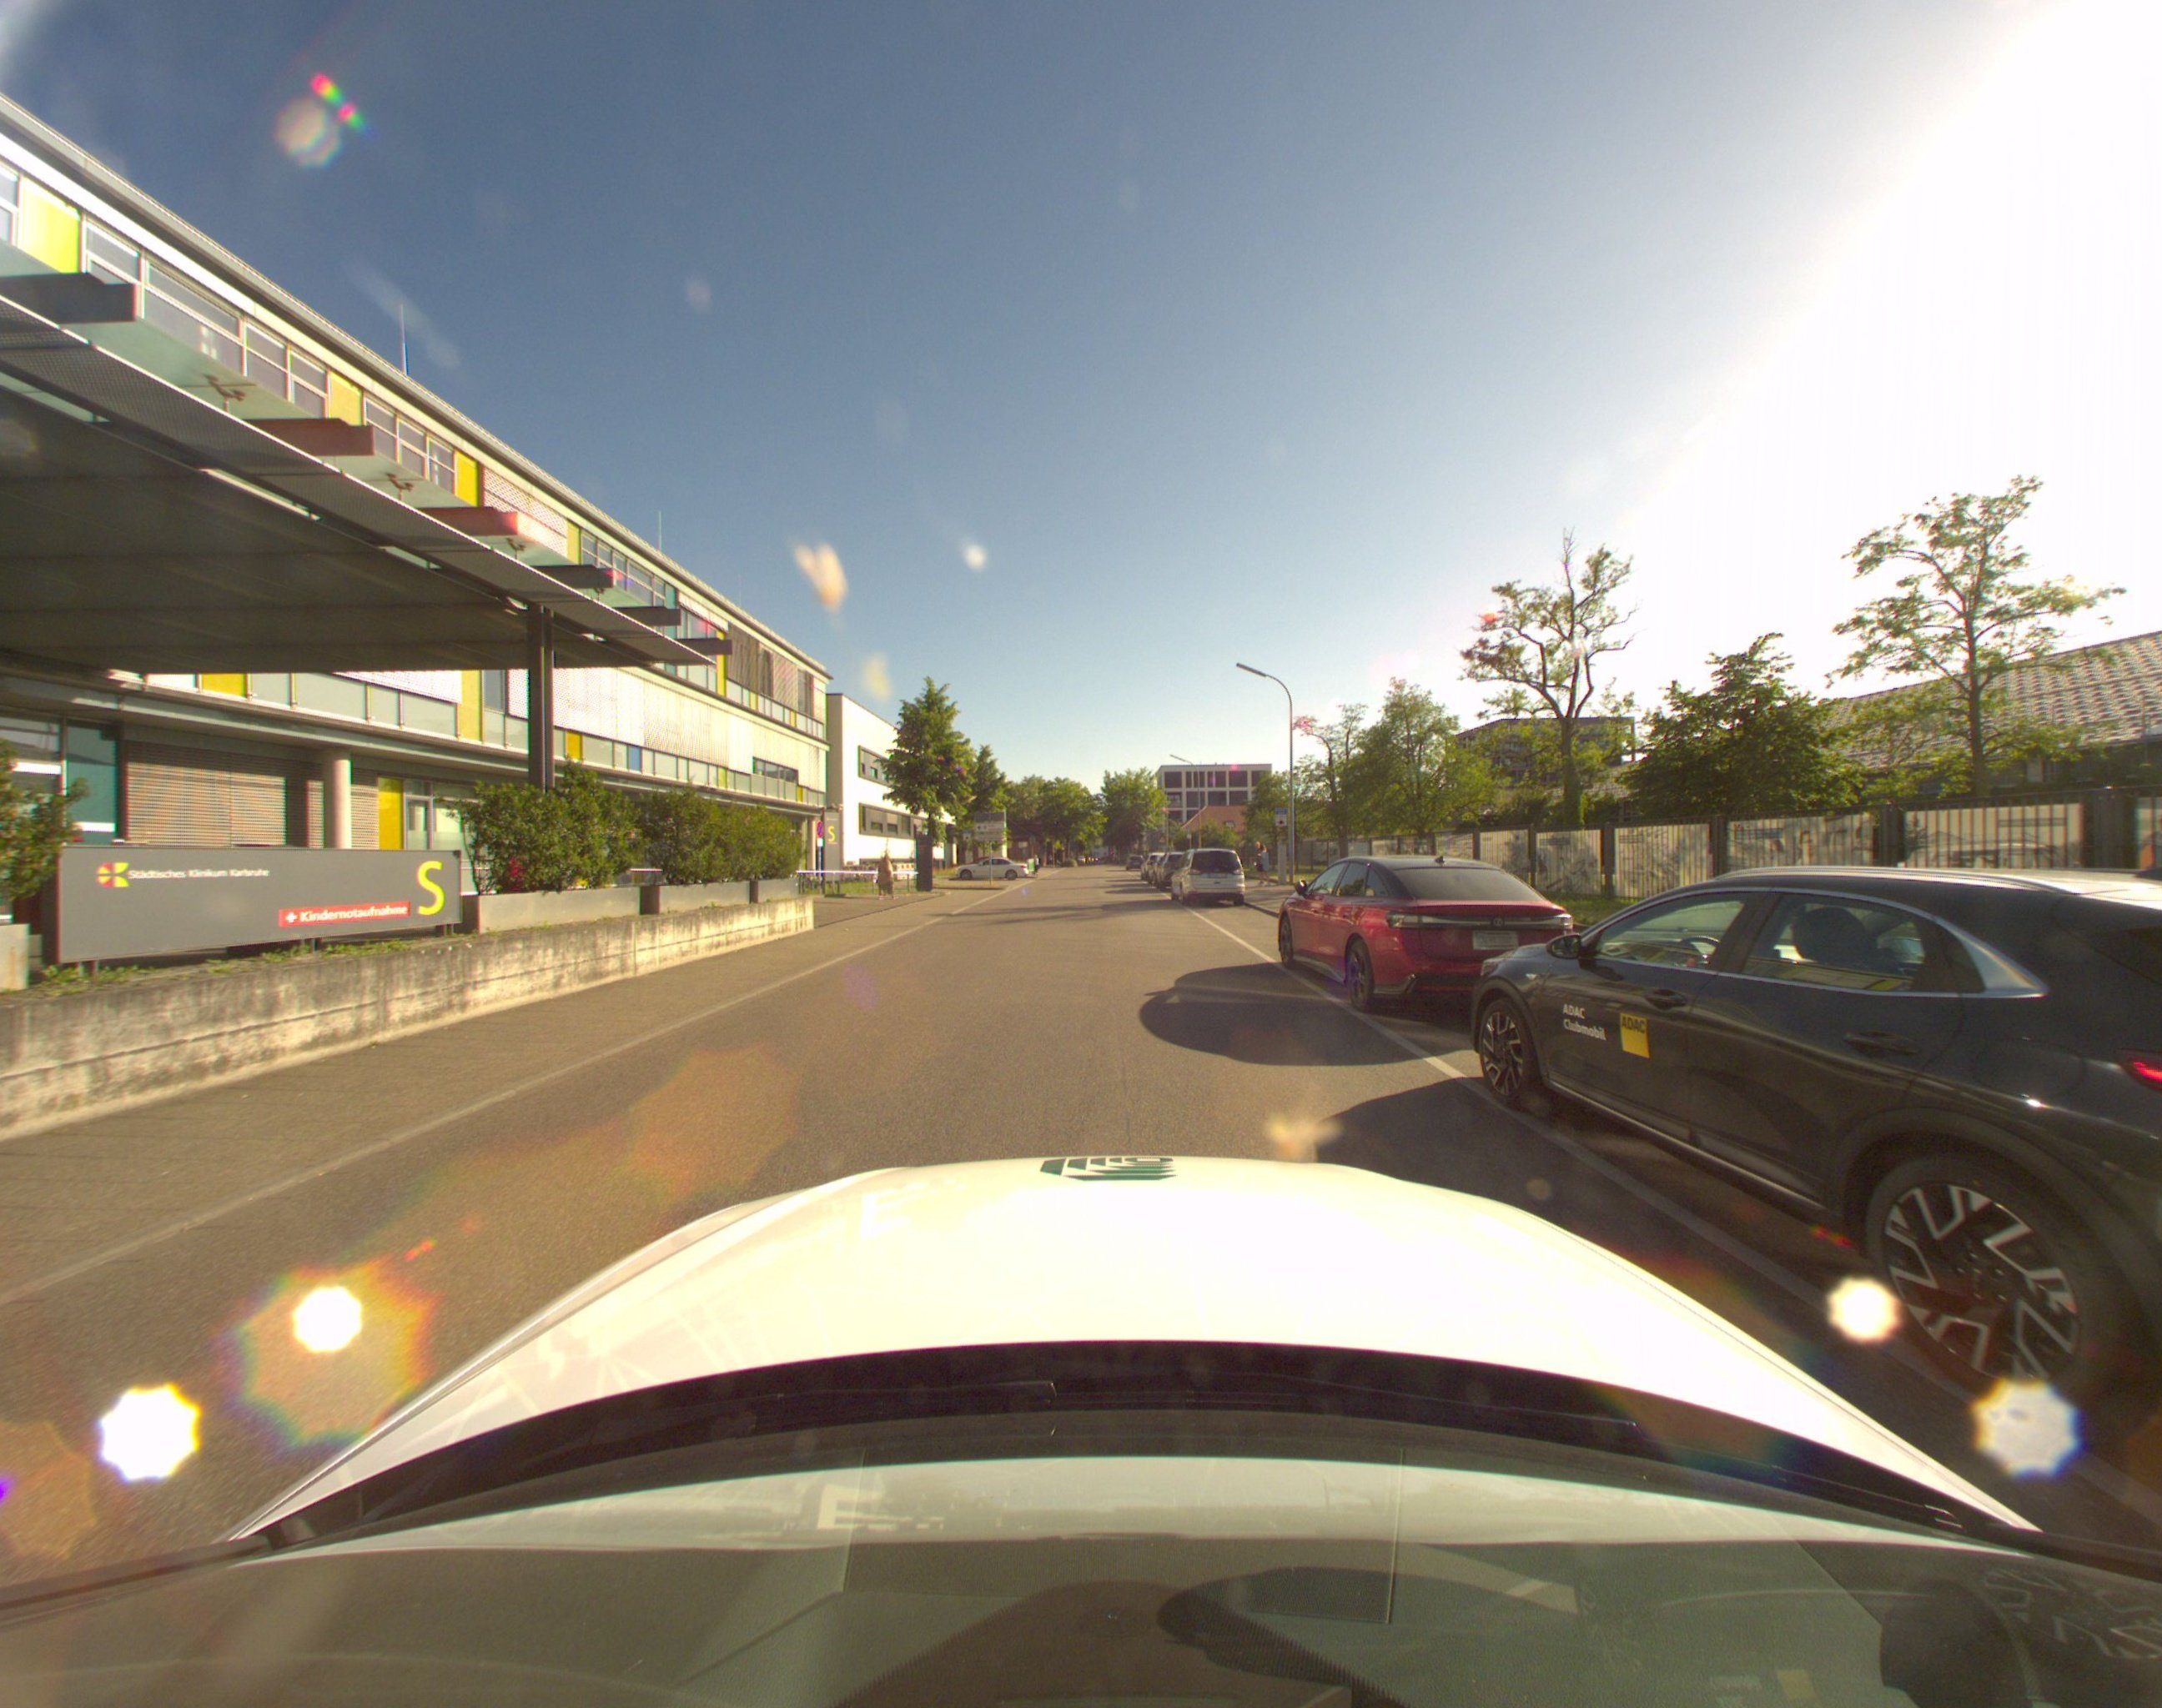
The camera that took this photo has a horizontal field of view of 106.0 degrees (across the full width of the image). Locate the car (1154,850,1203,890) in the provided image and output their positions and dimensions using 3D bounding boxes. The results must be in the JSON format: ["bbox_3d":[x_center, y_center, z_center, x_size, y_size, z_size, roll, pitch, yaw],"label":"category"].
[{"bbox_3d":[4.138,0.628,35.032,1.694,1.606,4.354,1,0,2],"label":"car"}]

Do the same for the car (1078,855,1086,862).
[{"bbox_3d":[0.156,1.065,177.685,1.761,1.487,3.999,-1,0,0],"label":"car"}]

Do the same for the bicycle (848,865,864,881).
[{"bbox_3d":[-12.402,1.038,44.892,0.367,0.863,1.451,-1,0,2],"label":"bicycle"}]

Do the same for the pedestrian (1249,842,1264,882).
[{"bbox_3d":[7.554,0.362,35.136,0.519,1.708,0.522,1,-1,-1],"label":"pedestrian"}]

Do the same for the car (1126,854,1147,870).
[{"bbox_3d":[5.163,0.730,76.407,1.810,1.453,4.216,-1,0,2],"label":"car"}]

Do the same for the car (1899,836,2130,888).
[{"bbox_3d":[24.490,0.195,21.475,4.131,1.252,1.827,1,0,-2],"label":"car"}]

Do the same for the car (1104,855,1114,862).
[{"bbox_3d":[5.699,0.905,165.261,1.761,1.548,4.065,-1,0,0],"label":"car"}]

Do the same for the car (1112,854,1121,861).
[{"bbox_3d":[8.037,0.755,182.490,1.986,1.465,3.838,-1,0,2],"label":"car"}]

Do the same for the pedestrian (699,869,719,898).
[{"bbox_3d":[-15.138,1.193,33.137,0.529,1.173,0.556,-1,0,2],"label":"pedestrian"}]

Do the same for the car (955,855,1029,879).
[{"bbox_3d":[-5.574,0.797,51.235,4.503,1.367,1.697,1,0,-4],"label":"car"}]

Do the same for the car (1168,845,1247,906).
[{"bbox_3d":[3.880,0.614,25.769,1.803,1.722,4.704,1,0,0],"label":"car"}]

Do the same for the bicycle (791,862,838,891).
[{"bbox_3d":[-10.694,0.887,32.710,1.694,1.121,0.537,-1,0,6],"label":"bicycle"}]

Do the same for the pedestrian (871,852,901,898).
[{"bbox_3d":[-6.681,0.724,27.909,0.770,1.549,0.780,1,-1,1],"label":"pedestrian"}]

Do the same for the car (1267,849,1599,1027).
[{"bbox_3d":[3.573,0.719,9.372,1.803,1.510,4.722,1,0,0],"label":"car"}]

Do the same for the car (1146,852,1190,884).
[{"bbox_3d":[4.295,0.663,40.892,1.696,1.487,3.978,1,0,-1],"label":"car"}]

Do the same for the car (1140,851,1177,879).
[{"bbox_3d":[4.570,0.600,48.606,1.807,1.588,4.261,1,0,0],"label":"car"}]

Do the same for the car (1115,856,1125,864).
[{"bbox_3d":[7.929,1.200,166.347,1.943,1.578,3.838,-1,0,2],"label":"car"}]

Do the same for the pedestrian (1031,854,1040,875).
[{"bbox_3d":[-3.318,0.773,59.722,0.536,1.524,0.607,-1,0,2],"label":"pedestrian"}]

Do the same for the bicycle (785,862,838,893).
[{"bbox_3d":[-9.702,0.842,29.324,1.710,1.055,0.536,-1,0,-1],"label":"bicycle"}]

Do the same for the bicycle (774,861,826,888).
[{"bbox_3d":[-10.500,0.770,30.474,1.710,0.974,0.536,-1,0,-1],"label":"bicycle"}]

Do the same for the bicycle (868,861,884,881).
[{"bbox_3d":[-11.902,0.980,47.278,0.418,1.123,1.765,-1,0,2],"label":"bicycle"}]

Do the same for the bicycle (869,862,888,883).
[{"bbox_3d":[-11.281,1.018,45.344,0.533,1.111,1.861,-1,0,1],"label":"bicycle"}]

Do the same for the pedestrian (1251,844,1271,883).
[{"bbox_3d":[7.459,0.403,33.757,0.679,1.611,0.540,1,-1,-2],"label":"pedestrian"}]

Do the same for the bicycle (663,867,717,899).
[{"bbox_3d":[-14.460,1.072,30.119,1.709,1.123,0.536,-1,0,0],"label":"bicycle"}]

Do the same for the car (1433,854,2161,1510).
[{"bbox_3d":[3.334,0.758,3.674,1.695,1.487,4.215,1,0,0],"label":"car"}]

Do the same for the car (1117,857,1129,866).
[{"bbox_3d":[7.055,1.210,137.263,1.761,1.440,3.999,-1,0,0],"label":"car"}]

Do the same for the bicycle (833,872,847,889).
[{"bbox_3d":[-13.485,1.490,45.550,0.254,0.873,1.451,-1,0,2],"label":"bicycle"}]

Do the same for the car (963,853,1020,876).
[{"bbox_3d":[-5.920,0.707,54.204,3.626,1.469,1.612,0,0,-3],"label":"car"}]
